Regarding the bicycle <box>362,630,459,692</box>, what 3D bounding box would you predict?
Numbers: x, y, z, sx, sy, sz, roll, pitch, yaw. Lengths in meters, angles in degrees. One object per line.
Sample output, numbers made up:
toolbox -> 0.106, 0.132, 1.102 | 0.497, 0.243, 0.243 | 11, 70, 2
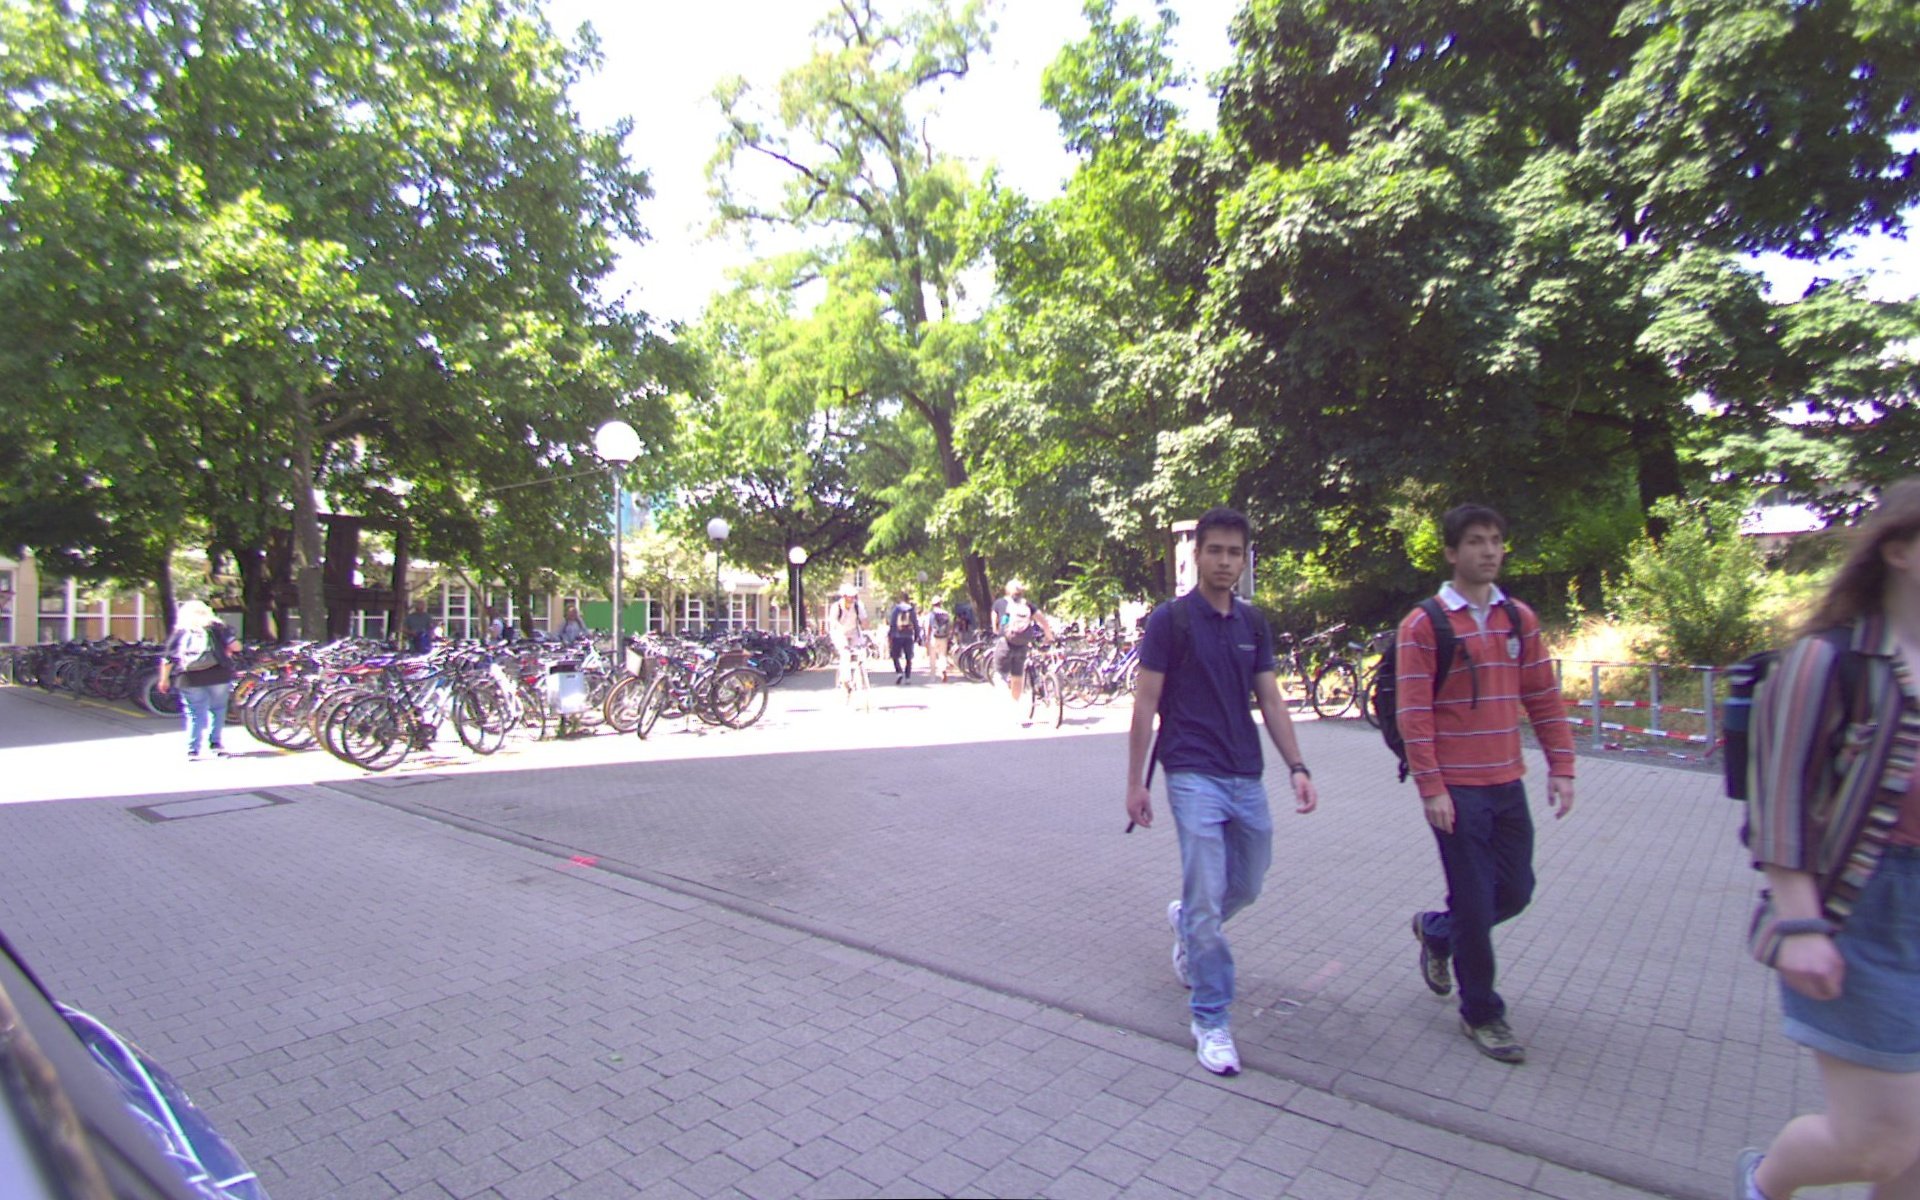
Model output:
bicycle -> -11.069, 1.225, 20.412 | 1.676, 1.209, 0.575 | -1, -1, 1

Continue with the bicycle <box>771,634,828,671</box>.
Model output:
bicycle -> -4.918, 1.604, 31.121 | 1.676, 1.092, 0.474 | -1, -1, 2

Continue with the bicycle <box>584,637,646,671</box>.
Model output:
bicycle -> -11.662, 1.825, 34.201 | 1.984, 1.116, 0.501 | -1, -1, 11

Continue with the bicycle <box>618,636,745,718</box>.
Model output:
bicycle -> -3.884, 1.069, 14.202 | 1.673, 1.092, 0.475 | 0, -1, -8

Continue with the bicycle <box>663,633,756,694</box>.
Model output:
bicycle -> -4.695, 1.186, 19.010 | 1.671, 1.092, 0.475 | 0, -1, -14

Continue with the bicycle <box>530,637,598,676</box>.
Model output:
bicycle -> -11.790, 1.679, 30.134 | 1.884, 1.116, 0.501 | -1, -1, 8

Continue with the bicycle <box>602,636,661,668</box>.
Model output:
bicycle -> -11.527, 1.818, 35.549 | 1.984, 1.116, 0.501 | -1, -1, 11

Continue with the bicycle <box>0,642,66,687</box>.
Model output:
bicycle -> -24.332, 1.664, 26.304 | 1.606, 1.116, 0.497 | 0, -2, -45

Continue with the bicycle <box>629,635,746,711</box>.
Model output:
bicycle -> -4.108, 1.094, 15.331 | 1.673, 1.092, 0.475 | 0, -1, -8

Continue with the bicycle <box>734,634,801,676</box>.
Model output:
bicycle -> -5.097, 1.449, 26.787 | 1.676, 1.092, 0.474 | -1, -1, 2

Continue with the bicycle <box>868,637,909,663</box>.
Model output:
bicycle -> -3.064, 2.130, 43.202 | 1.682, 1.092, 0.472 | -1, -1, 12

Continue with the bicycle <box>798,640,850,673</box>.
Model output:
bicycle -> -4.625, 1.916, 34.381 | 1.679, 1.092, 0.473 | -1, -1, 7

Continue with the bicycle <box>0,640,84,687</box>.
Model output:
bicycle -> -23.345, 1.600, 25.717 | 0.630, 1.116, 1.606 | -2, -2, 45

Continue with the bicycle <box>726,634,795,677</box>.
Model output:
bicycle -> -5.153, 1.436, 26.194 | 1.676, 1.092, 0.474 | -1, -1, 2

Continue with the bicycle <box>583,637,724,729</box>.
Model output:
bicycle -> -3.934, 1.042, 13.026 | 1.670, 1.092, 0.475 | 0, -1, -30

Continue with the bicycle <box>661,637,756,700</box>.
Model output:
bicycle -> -4.598, 1.239, 18.527 | 1.671, 1.092, 0.475 | 0, -1, -14

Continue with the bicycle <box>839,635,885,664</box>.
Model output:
bicycle -> -3.717, 1.888, 38.498 | 1.682, 1.092, 0.472 | -1, -1, 12

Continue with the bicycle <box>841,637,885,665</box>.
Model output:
bicycle -> -3.831, 2.012, 40.078 | 1.682, 1.092, 0.472 | -1, -1, 12

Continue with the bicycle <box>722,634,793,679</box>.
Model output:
bicycle -> -5.066, 1.422, 25.377 | 1.676, 1.092, 0.474 | -1, -1, 2

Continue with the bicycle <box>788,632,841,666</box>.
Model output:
bicycle -> -4.813, 1.626, 33.442 | 1.676, 1.092, 0.474 | -1, -1, 2

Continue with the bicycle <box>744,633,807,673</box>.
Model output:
bicycle -> -5.173, 1.483, 28.413 | 1.676, 1.092, 0.474 | -1, -1, 2

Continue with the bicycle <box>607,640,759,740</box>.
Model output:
bicycle -> -3.307, 1.041, 12.157 | 1.695, 1.092, 0.475 | 0, -1, -35

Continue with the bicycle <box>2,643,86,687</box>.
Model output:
bicycle -> -24.385, 1.721, 26.979 | 1.603, 1.116, 0.498 | 1, -4, -38

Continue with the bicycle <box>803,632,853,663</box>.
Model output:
bicycle -> -4.648, 1.668, 35.582 | 1.682, 1.092, 0.472 | -1, -1, 12

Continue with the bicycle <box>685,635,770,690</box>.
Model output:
bicycle -> -4.776, 1.270, 20.782 | 1.671, 1.092, 0.475 | 0, -1, -14

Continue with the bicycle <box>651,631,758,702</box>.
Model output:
bicycle -> -4.150, 1.071, 16.495 | 1.672, 1.092, 0.475 | 0, -1, -11

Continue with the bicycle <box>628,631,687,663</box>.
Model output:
bicycle -> -10.952, 1.706, 36.627 | 2.006, 1.116, 0.501 | -1, -1, 8

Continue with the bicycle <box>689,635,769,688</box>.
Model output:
bicycle -> -4.978, 1.307, 21.799 | 1.671, 1.092, 0.475 | 0, -1, -14

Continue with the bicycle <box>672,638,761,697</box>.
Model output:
bicycle -> -4.740, 1.301, 19.715 | 1.671, 1.092, 0.475 | 0, -1, -14

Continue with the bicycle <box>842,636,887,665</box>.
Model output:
bicycle -> -3.686, 1.959, 39.064 | 1.682, 1.092, 0.472 | -1, -1, 12

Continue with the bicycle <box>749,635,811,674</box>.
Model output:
bicycle -> -5.142, 1.545, 28.899 | 1.676, 1.092, 0.474 | -1, -1, 2

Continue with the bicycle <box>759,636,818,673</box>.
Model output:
bicycle -> -5.109, 1.618, 30.130 | 1.676, 1.092, 0.474 | -1, -1, 2

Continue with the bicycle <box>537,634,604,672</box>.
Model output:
bicycle -> -11.801, 1.600, 30.683 | 1.884, 1.116, 0.501 | -1, -1, 8

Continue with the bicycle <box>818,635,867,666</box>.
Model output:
bicycle -> -4.234, 1.816, 36.523 | 1.682, 1.092, 0.472 | -1, -1, 12

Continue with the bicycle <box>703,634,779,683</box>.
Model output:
bicycle -> -5.009, 1.336, 23.188 | 1.673, 1.092, 0.475 | 0, -1, -7

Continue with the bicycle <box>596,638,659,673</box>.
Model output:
bicycle -> -10.821, 1.800, 32.935 | 1.984, 1.116, 0.501 | -1, -1, 11

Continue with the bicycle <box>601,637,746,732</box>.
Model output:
bicycle -> -3.563, 1.024, 12.634 | 1.670, 1.092, 0.475 | 0, -1, -30

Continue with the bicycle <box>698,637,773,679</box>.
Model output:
bicycle -> -5.404, 1.385, 24.361 | 1.716, 0.969, 0.452 | -1, -1, 2

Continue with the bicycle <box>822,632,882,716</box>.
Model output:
bicycle -> -1.557, 1.006, 14.362 | 0.594, 1.092, 1.704 | 0, -1, -14

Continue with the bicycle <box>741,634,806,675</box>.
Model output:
bicycle -> -5.131, 1.487, 27.880 | 1.676, 1.092, 0.474 | -1, -1, 2

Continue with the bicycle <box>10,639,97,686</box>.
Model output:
bicycle -> -22.804, 1.564, 25.478 | 1.606, 1.116, 0.506 | 0, -2, -45

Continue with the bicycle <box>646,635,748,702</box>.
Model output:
bicycle -> -4.522, 1.165, 17.447 | 1.671, 1.092, 0.475 | 0, -1, -14

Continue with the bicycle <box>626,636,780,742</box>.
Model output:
bicycle -> -2.964, 0.999, 11.759 | 1.672, 1.118, 0.475 | 0, -1, -37

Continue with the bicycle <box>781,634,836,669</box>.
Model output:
bicycle -> -4.796, 1.638, 32.117 | 1.676, 1.092, 0.474 | -1, -1, 2

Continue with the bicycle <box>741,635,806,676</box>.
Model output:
bicycle -> -5.045, 1.500, 27.418 | 1.676, 1.092, 0.474 | -1, -1, 2

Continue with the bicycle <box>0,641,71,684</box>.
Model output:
bicycle -> -25.112, 1.680, 27.328 | 0.496, 1.116, 1.608 | -5, -4, 40

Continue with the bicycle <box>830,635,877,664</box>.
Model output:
bicycle -> -3.975, 1.846, 37.736 | 1.682, 1.092, 0.472 | -1, -1, 12

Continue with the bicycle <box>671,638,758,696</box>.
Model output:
bicycle -> -4.897, 1.328, 20.196 | 1.671, 1.092, 0.475 | 0, -1, -14

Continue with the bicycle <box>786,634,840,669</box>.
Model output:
bicycle -> -4.768, 1.659, 32.785 | 1.676, 1.092, 0.474 | -1, -1, 2

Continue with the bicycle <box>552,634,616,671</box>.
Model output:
bicycle -> -11.634, 1.622, 31.344 | 1.886, 1.116, 0.501 | -1, -1, 11

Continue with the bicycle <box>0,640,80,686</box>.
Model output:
bicycle -> -23.773, 1.617, 26.084 | 1.606, 1.116, 0.497 | 0, -2, -45
